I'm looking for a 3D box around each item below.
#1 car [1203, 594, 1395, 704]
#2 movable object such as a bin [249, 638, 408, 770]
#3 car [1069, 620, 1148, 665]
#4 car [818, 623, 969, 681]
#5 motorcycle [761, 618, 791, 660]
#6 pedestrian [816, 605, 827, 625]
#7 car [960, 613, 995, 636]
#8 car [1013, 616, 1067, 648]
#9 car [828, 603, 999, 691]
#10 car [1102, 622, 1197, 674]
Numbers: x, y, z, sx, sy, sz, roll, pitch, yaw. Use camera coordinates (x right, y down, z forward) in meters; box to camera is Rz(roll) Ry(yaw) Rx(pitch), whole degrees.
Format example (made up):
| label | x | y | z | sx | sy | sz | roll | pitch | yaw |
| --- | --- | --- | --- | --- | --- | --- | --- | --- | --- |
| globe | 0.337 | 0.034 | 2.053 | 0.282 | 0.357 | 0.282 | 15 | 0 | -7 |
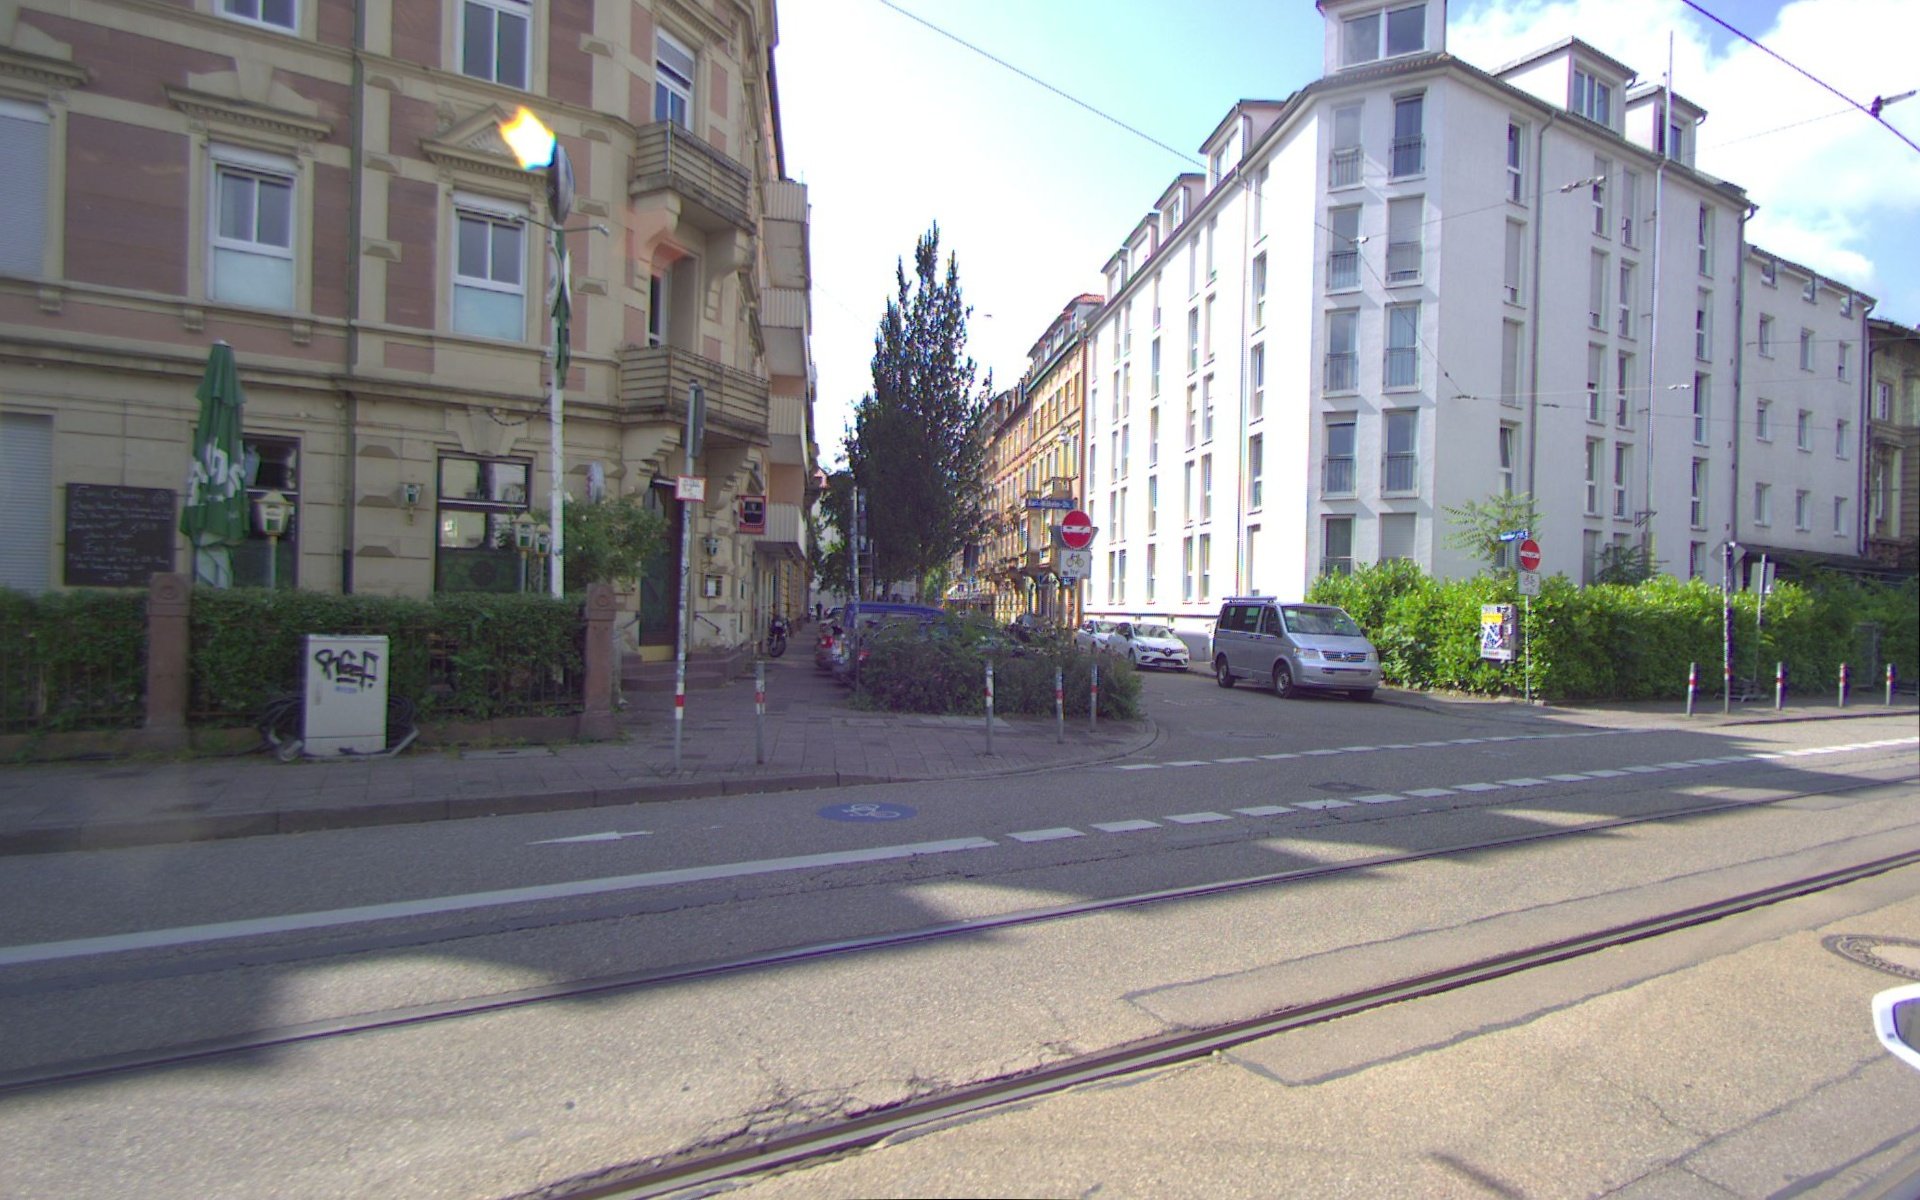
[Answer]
| label | x | y | z | sx | sy | sz | roll | pitch | yaw |
| --- | --- | --- | --- | --- | --- | --- | --- | --- | --- |
| car | 7.029 | 0.973 | 21.434 | 2.008 | 2.040 | 4.672 | 1 | -1 | -7 |
| movable object such as a bin | -5.399 | 0.862 | 8.660 | 1.101 | 1.001 | 0.741 | 2 | 2 | -30 |
| car | 5.191 | 1.467 | 35.600 | 1.757 | 1.415 | 3.967 | 1 | 0 | -7 |
| car | -1.480 | 1.123 | 21.907 | 3.128 | 1.169 | 1.355 | 1 | 0 | -11 |
| motorcycle | -5.425 | 1.131 | 29.651 | 0.823 | 1.152 | 2.297 | 1 | 0 | -10 |
| pedestrian | -11.920 | 1.291 | 86.481 | 0.935 | 1.750 | 0.925 | 1 | 0 | -7 |
| car | 1.105 | 1.581 | 66.631 | 1.757 | 1.415 | 3.967 | 1 | 0 | -7 |
| car | 3.774 | 1.499 | 48.099 | 1.757 | 1.415 | 3.967 | 1 | 0 | -7 |
| car | -0.929 | 0.894 | 19.470 | 3.128 | 1.588 | 1.391 | 1 | 0 | -11 |
| car | 5.784 | 1.442 | 31.138 | 1.757 | 1.432 | 3.967 | 1 | -1 | -7 |
